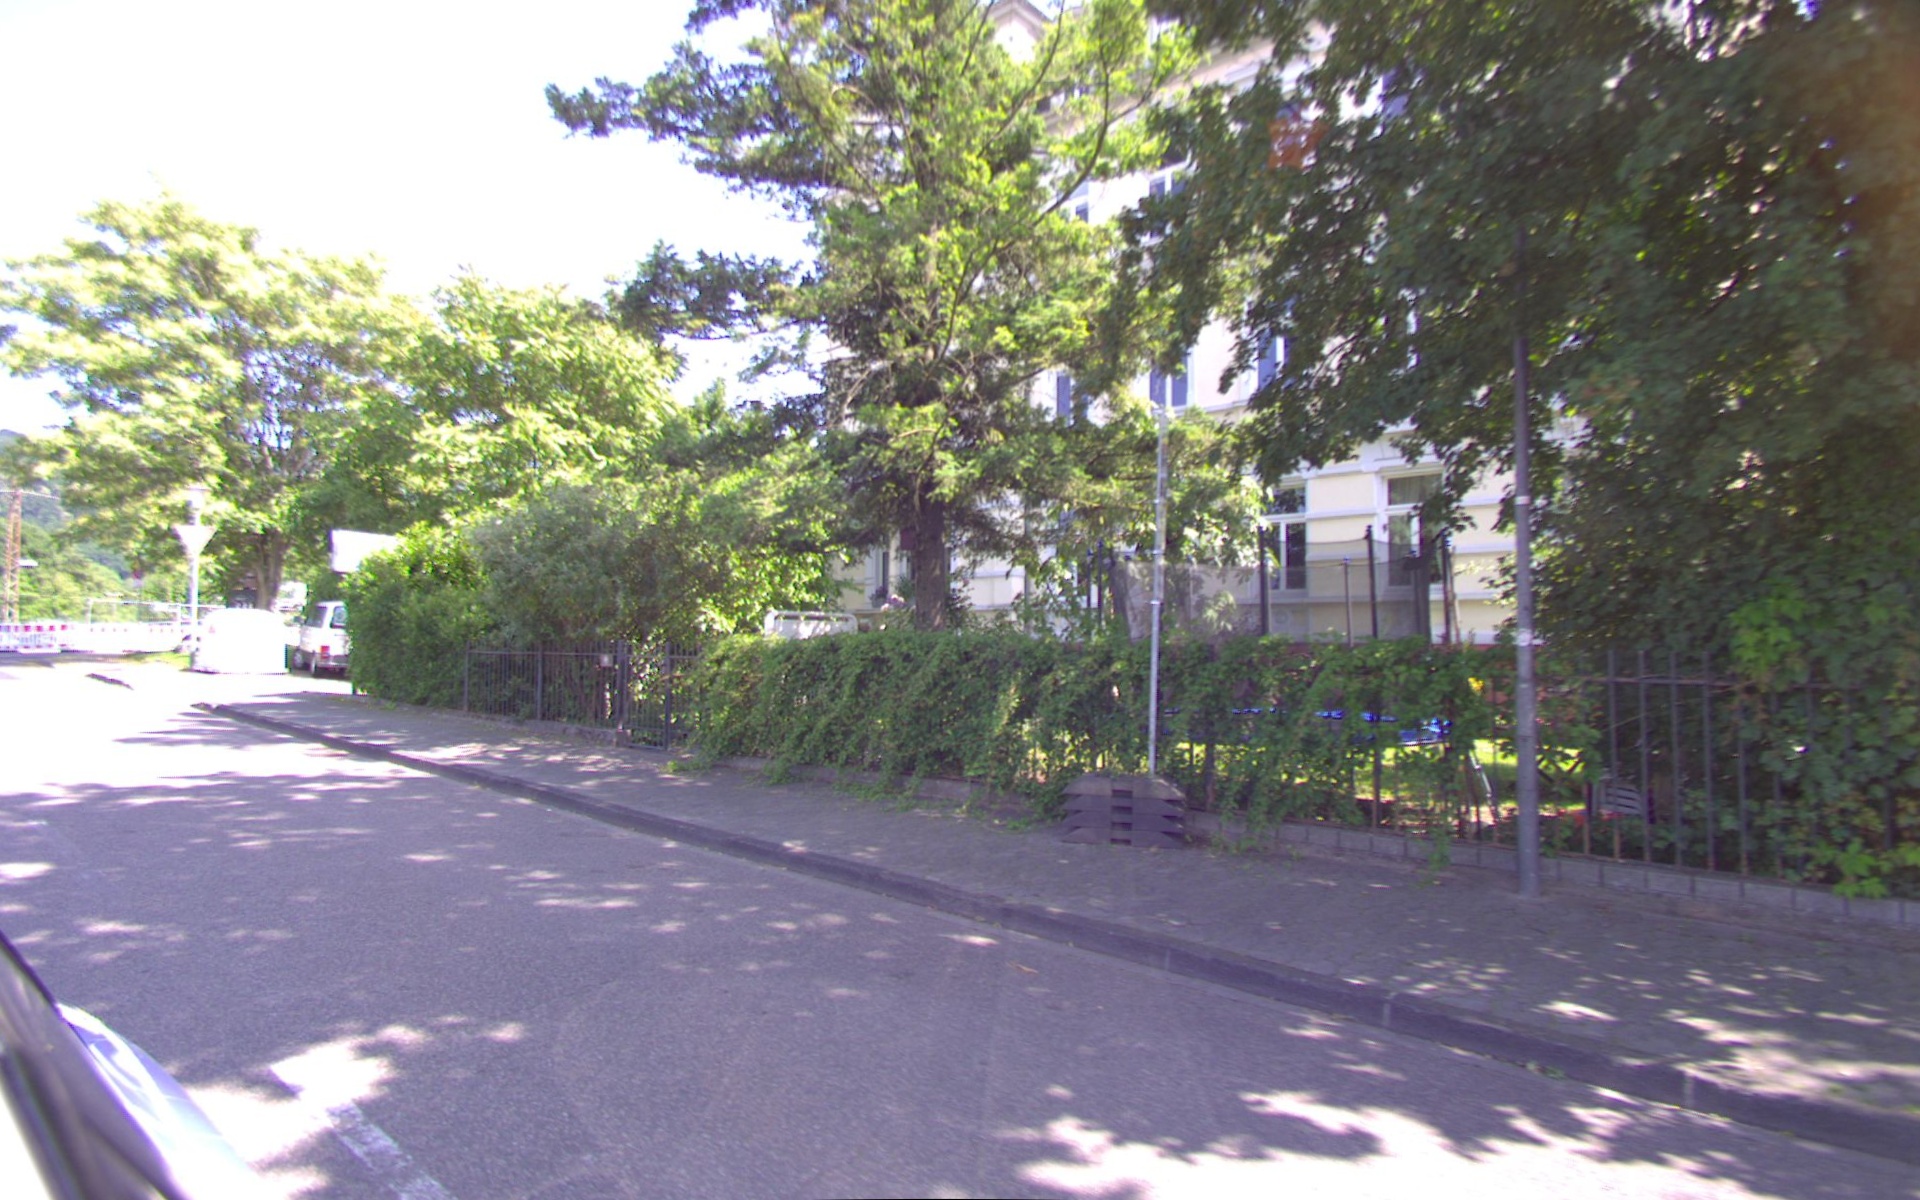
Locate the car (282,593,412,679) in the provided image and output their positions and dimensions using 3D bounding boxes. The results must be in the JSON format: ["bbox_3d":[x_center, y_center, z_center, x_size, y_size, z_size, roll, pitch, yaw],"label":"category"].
[{"bbox_3d":[-15.973,0.877,26.231,1.969,1.945,5.109,5,-3,-40],"label":"car"}]
